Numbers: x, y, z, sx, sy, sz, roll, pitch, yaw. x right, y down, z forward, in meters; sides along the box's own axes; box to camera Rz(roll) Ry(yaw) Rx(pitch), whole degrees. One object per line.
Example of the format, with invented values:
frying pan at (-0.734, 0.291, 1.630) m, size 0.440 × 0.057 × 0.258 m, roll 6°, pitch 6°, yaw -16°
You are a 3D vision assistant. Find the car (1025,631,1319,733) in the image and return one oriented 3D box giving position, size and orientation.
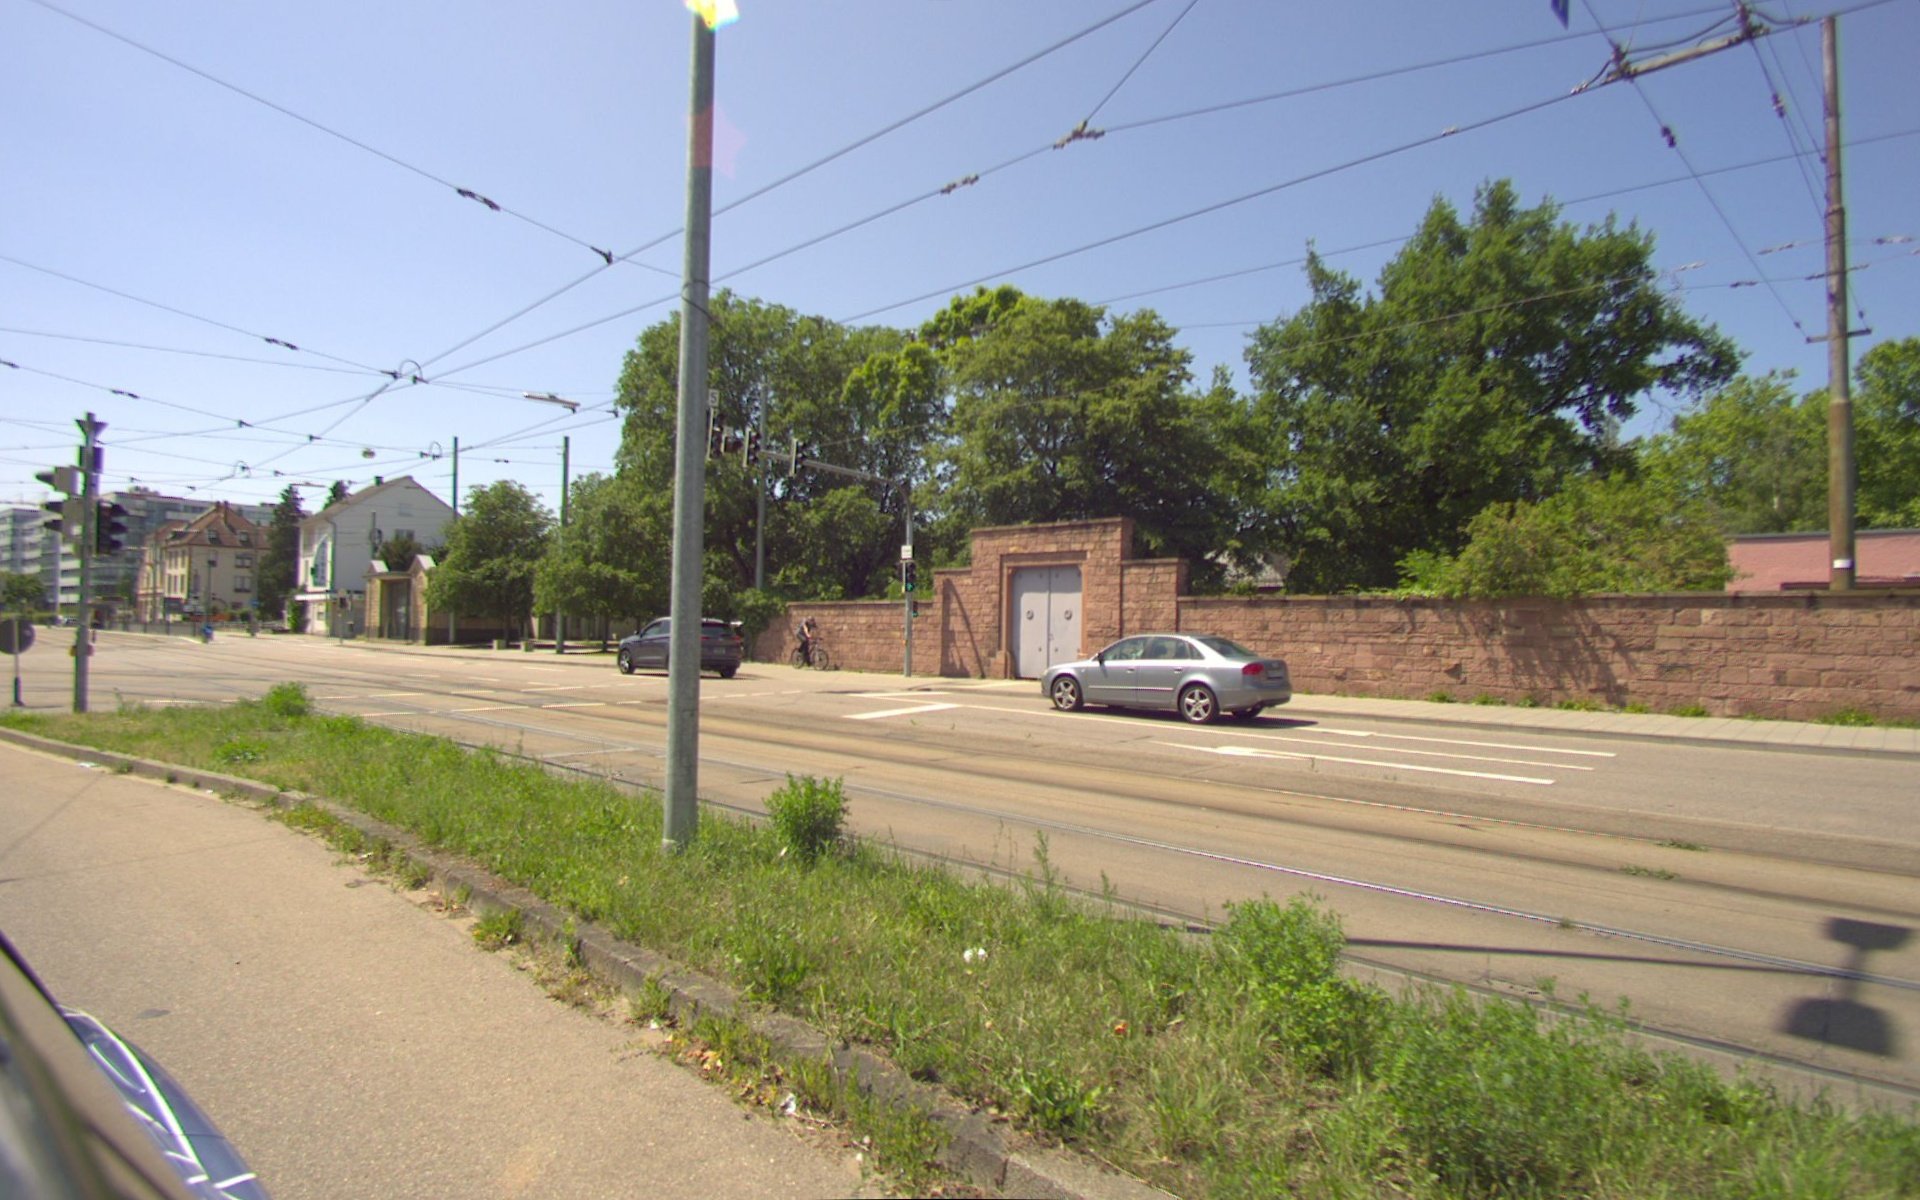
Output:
car at (3.504, 1.301, 17.422) m, size 4.712 × 1.427 × 1.820 m, roll -1°, pitch 0°, yaw 45°

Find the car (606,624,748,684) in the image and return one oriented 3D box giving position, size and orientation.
car at (-8.020, 1.467, 28.478) m, size 4.466 × 1.567 × 1.820 m, roll -1°, pitch -3°, yaw 44°

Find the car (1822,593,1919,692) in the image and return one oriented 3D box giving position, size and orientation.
car at (24.913, 1.137, 27.667) m, size 1.883 × 2.485 × 4.333 m, roll -1°, pitch -2°, yaw 39°

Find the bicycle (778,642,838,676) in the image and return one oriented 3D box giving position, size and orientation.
bicycle at (-4.655, 1.774, 30.869) m, size 2.114 × 0.964 × 0.645 m, roll -1°, pitch -2°, yaw 43°

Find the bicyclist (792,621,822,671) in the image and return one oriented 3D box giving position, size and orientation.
bicyclist at (-4.671, 1.398, 30.905) m, size 0.662 × 1.508 × 0.645 m, roll -1°, pitch -2°, yaw 43°
